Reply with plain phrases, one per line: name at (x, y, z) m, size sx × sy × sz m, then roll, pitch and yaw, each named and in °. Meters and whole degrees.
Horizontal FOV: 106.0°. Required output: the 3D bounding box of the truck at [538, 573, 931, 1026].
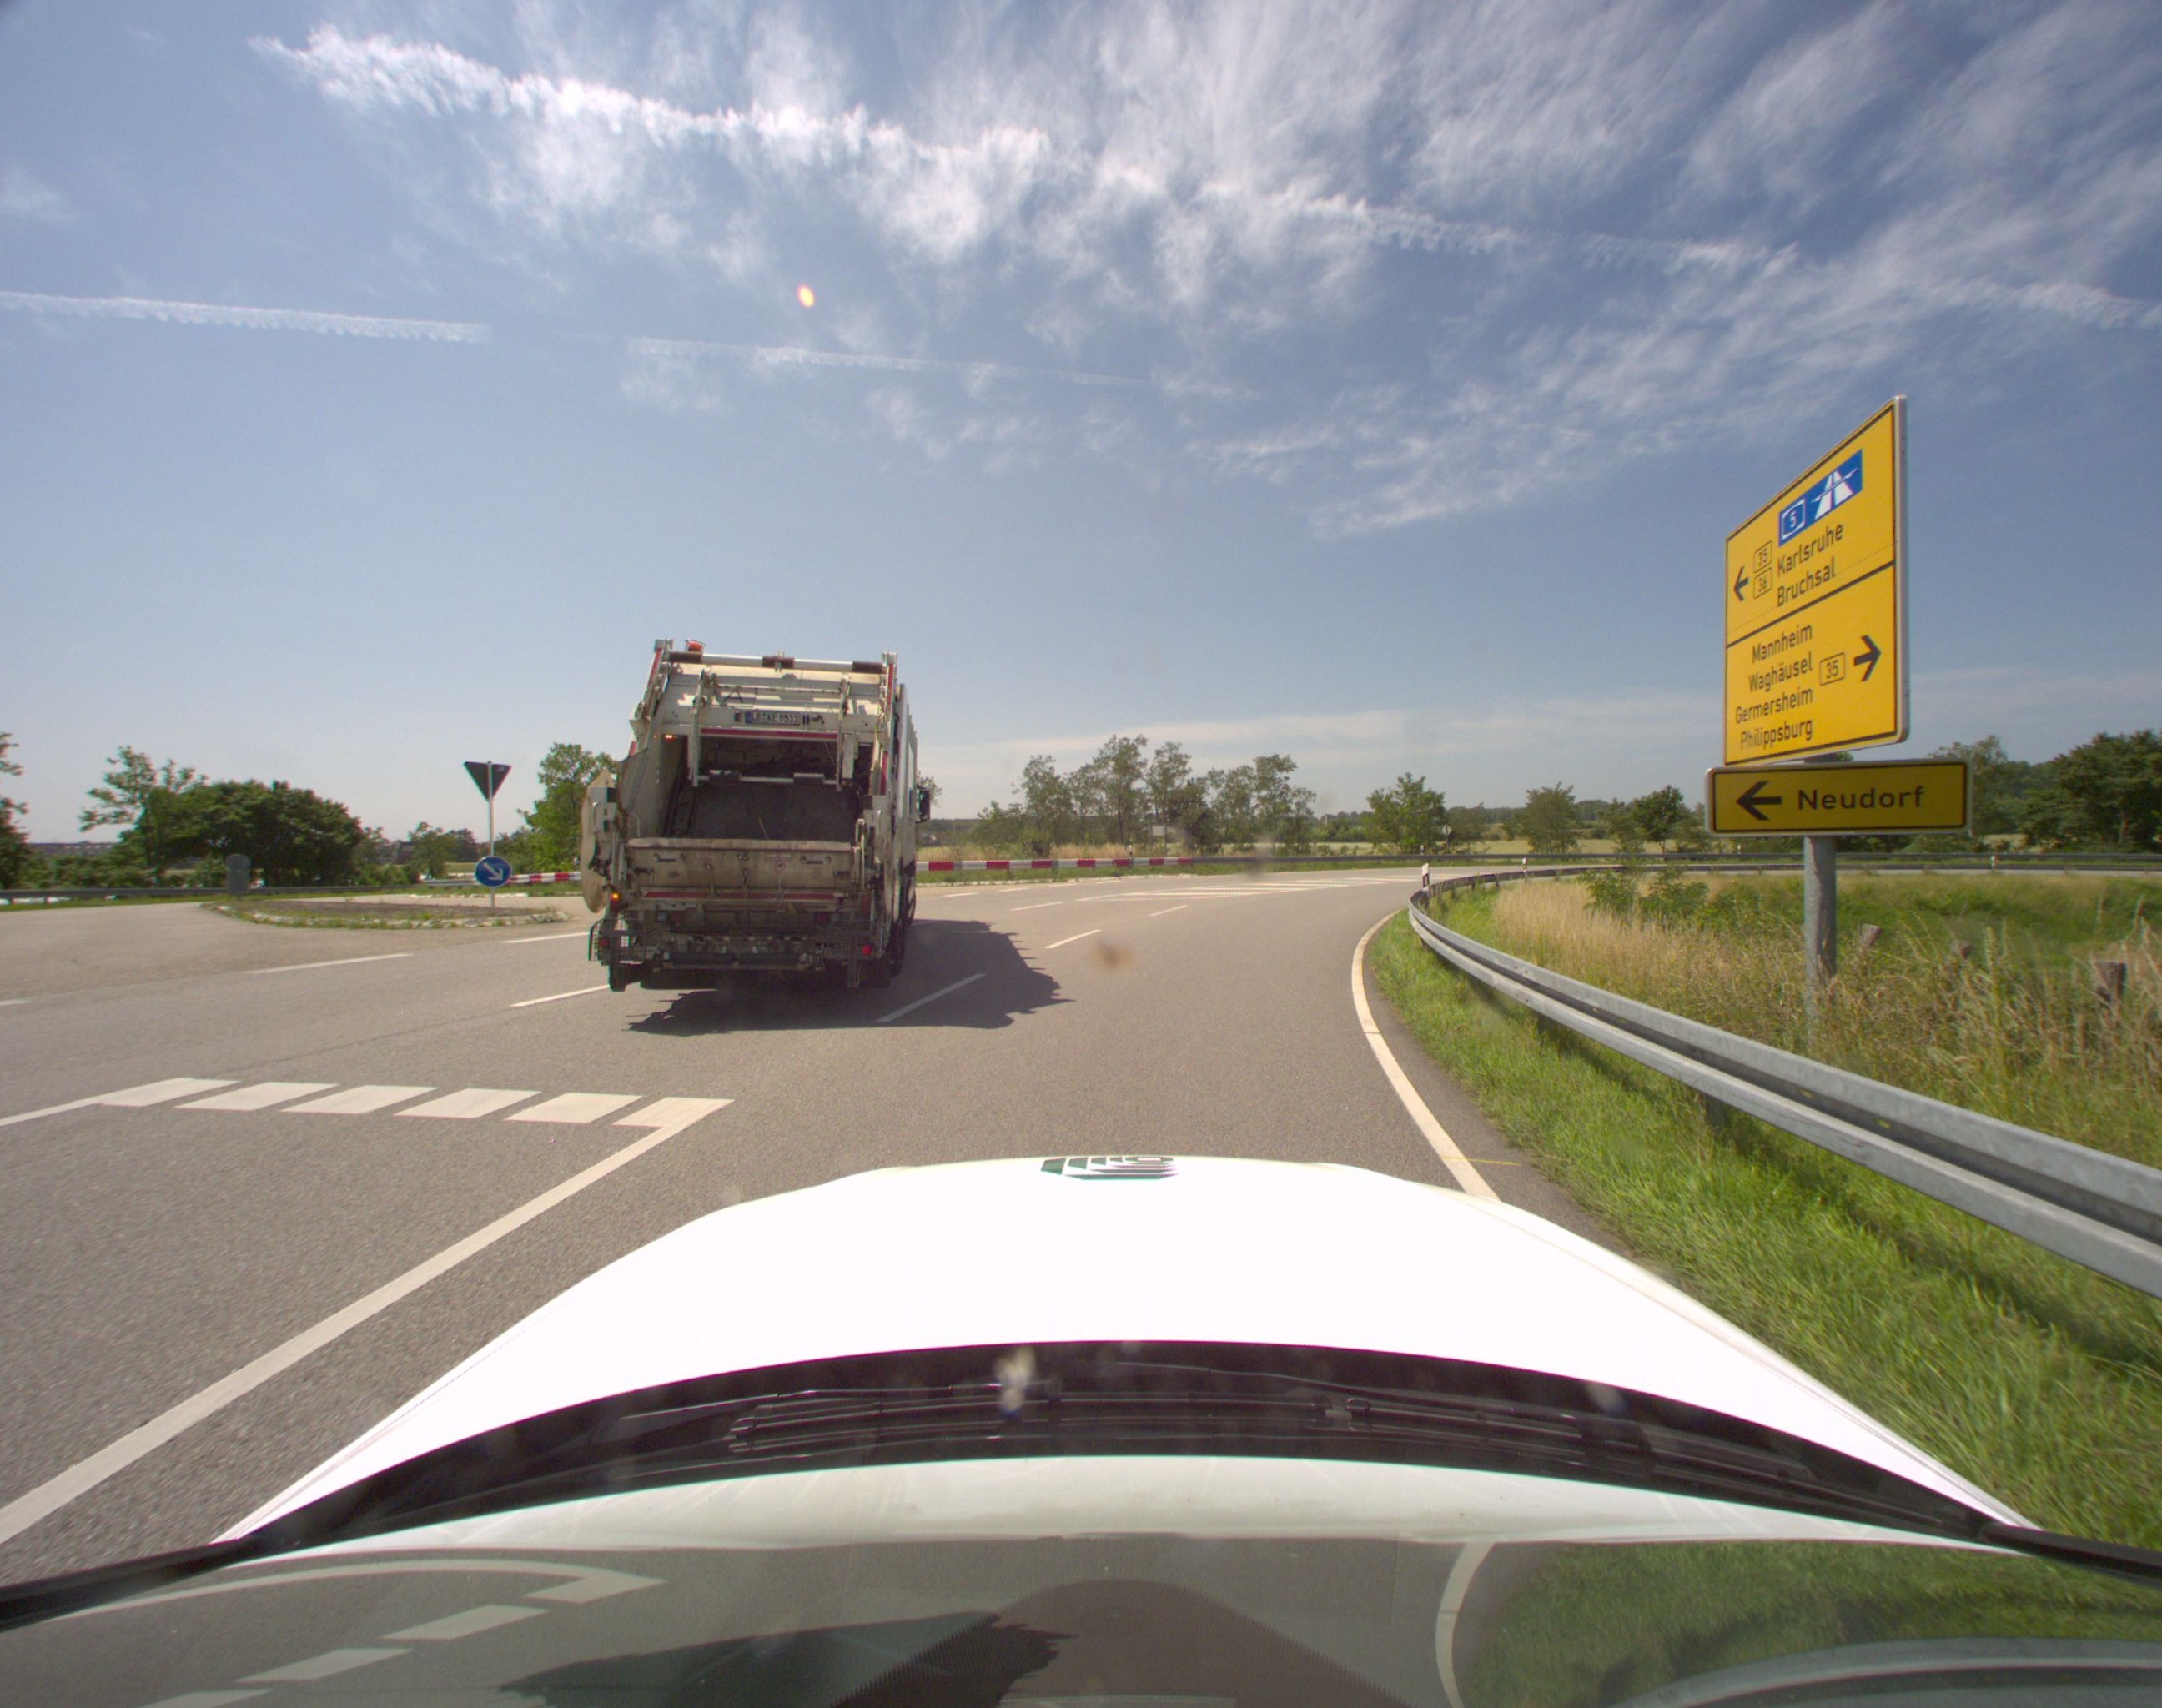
truck at (-3.754, -0.516, 11.728) m, size 2.812 × 3.669 × 9.918 m, roll 1°, pitch 1°, yaw -9°
